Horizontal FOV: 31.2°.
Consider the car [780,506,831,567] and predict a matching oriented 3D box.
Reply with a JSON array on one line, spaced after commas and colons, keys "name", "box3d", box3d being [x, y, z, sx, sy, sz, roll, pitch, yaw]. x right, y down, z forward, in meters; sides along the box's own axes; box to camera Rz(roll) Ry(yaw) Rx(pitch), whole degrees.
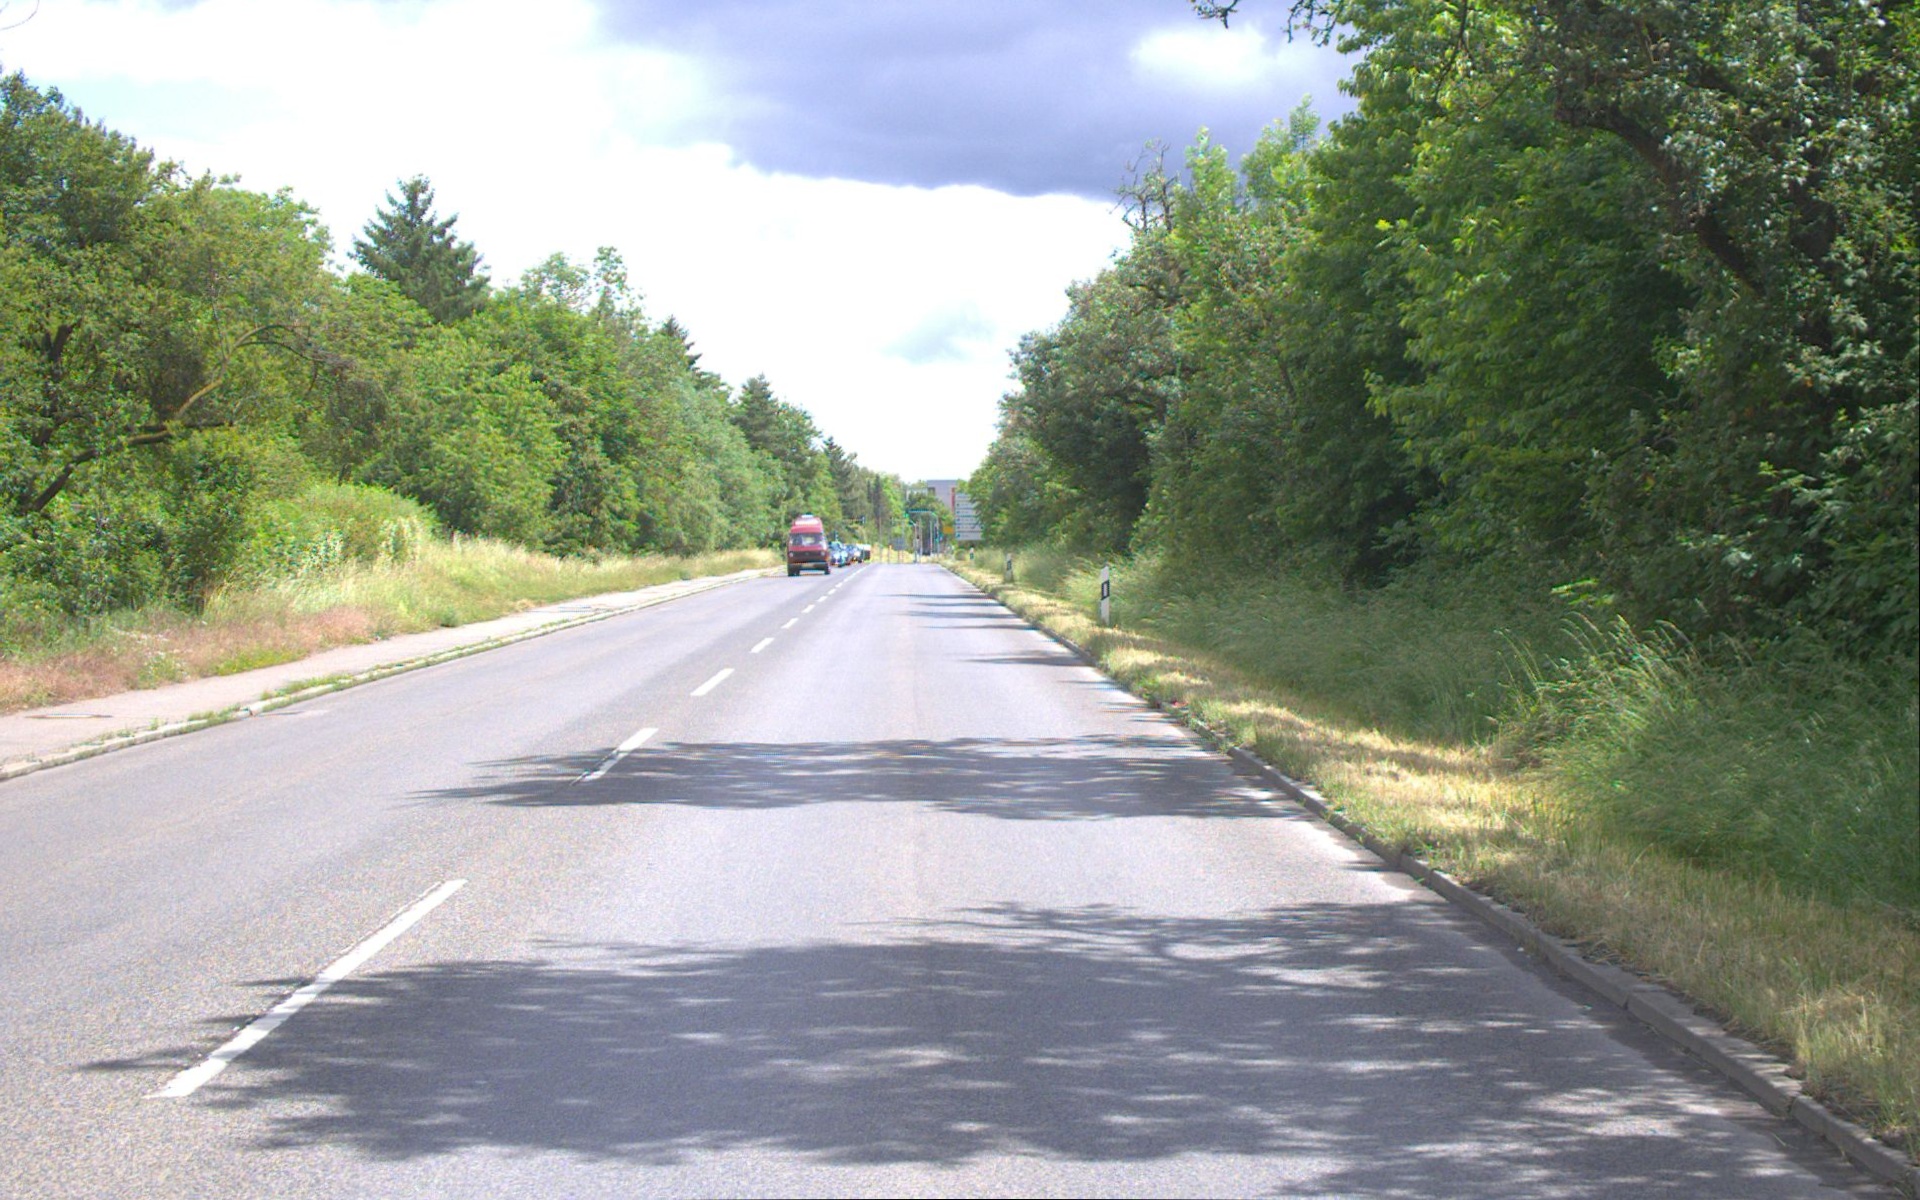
[{"name": "car", "box3d": [-6.698, -2.760, 149.440, 1.969, 2.541, 4.725, -3, 1, -1]}]

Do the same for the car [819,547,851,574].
[{"name": "car", "box3d": [-7.220, -2.285, 198.632, 1.784, 1.441, 4.453, -3, 1, -2]}]
